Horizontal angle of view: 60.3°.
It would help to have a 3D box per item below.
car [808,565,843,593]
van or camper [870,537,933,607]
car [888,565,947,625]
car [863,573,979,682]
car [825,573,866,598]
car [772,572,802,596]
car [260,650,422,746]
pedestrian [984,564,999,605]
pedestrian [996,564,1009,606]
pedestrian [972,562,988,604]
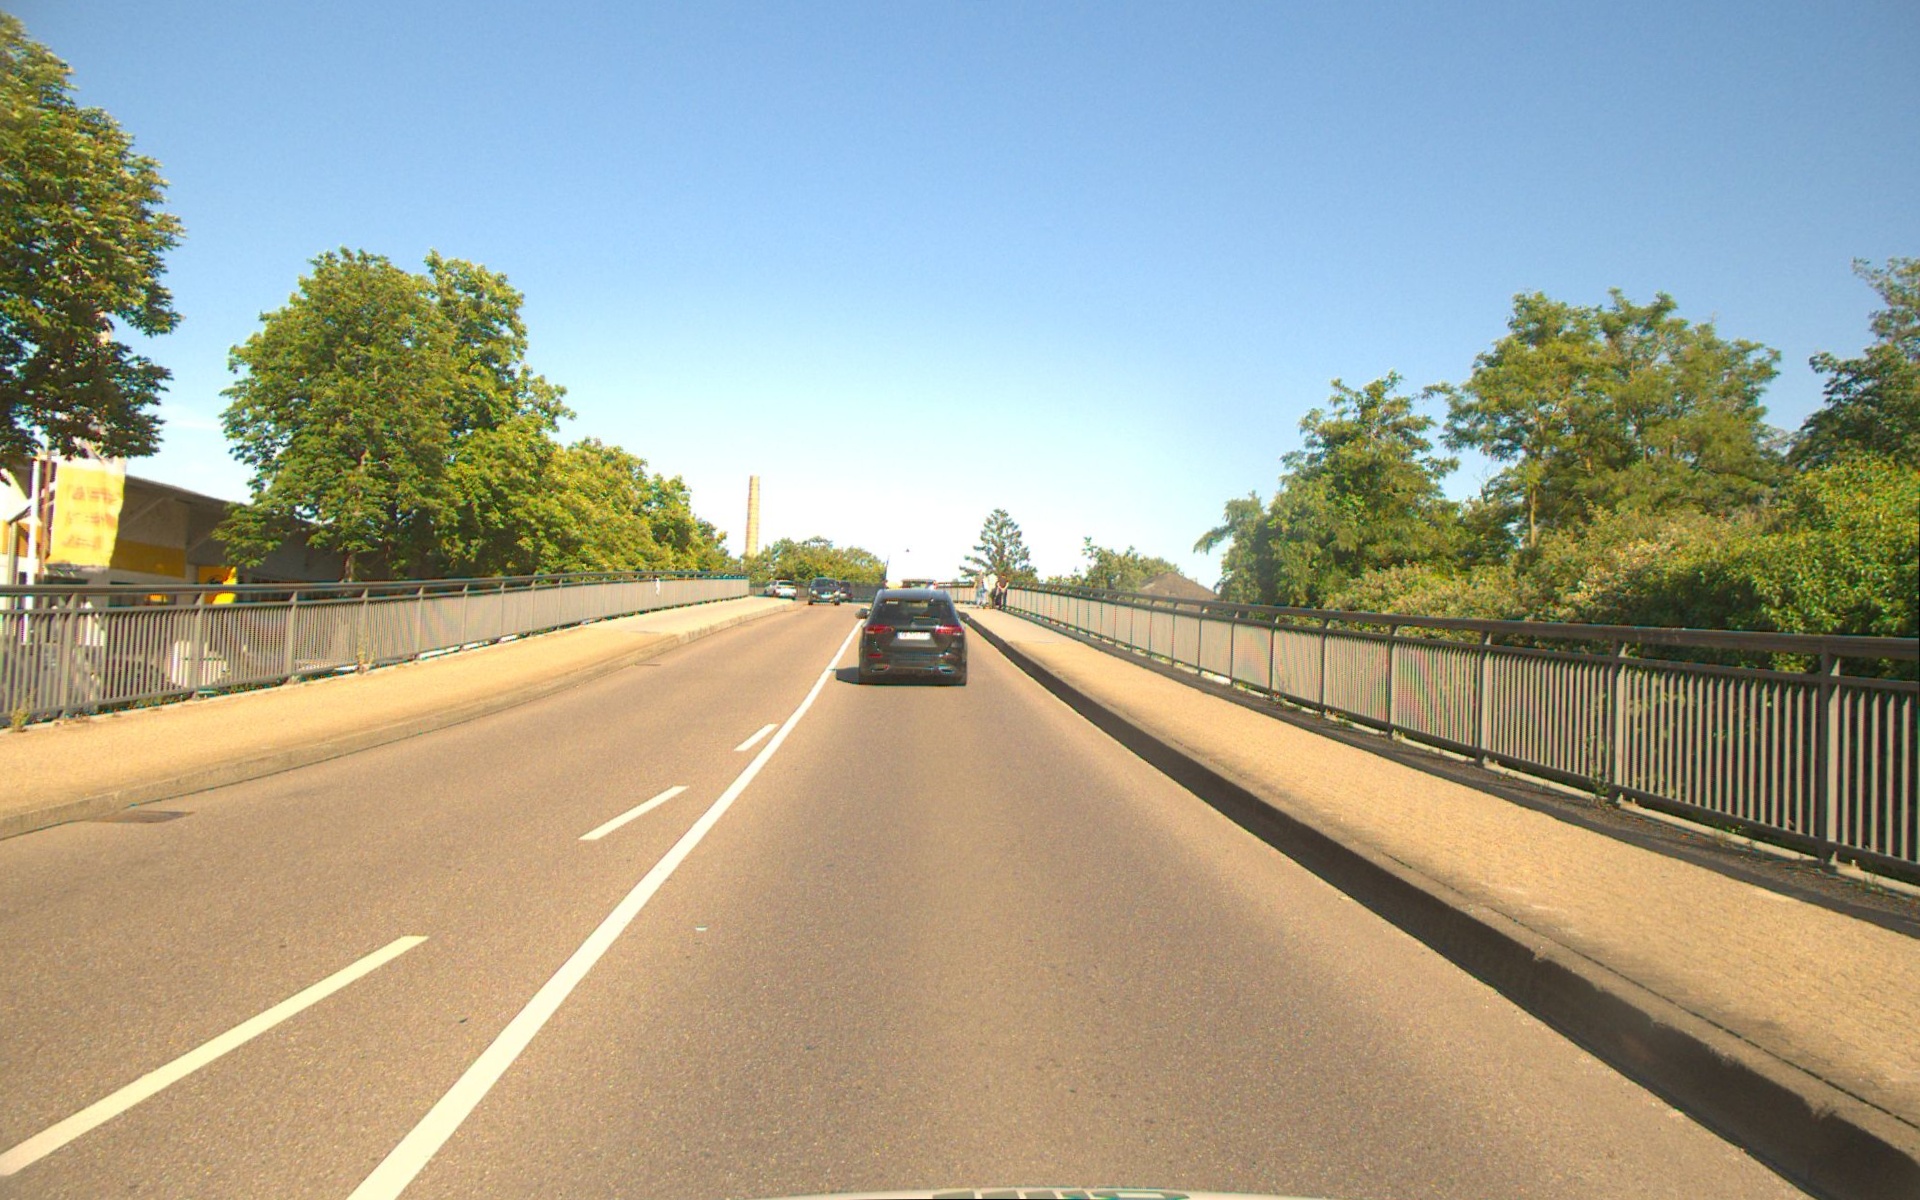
[{"bbox_3d":[-7.252,-1.127,89.341,1.734,1.500,3.987,1,0,-3],"label":"car"},{"bbox_3d":[-2.709,-1.192,74.751,2.183,2.787,7.069,3,-2,-6],"label":"van or camper"},{"bbox_3d":[-1.355,-0.130,53.870,1.768,1.669,3.999,3,-3,0],"label":"car"},{"bbox_3d":[-0.722,0.398,27.869,1.735,1.620,3.986,3,1,-4],"label":"car"},{"bbox_3d":[-7.985,-0.995,115.560,1.877,1.515,4.273,1,-3,9],"label":"car"},{"bbox_3d":[-13.825,-1.270,132.241,1.953,1.710,3.999,1,-3,0],"label":"car"},{"bbox_3d":[-14.288,2.216,38.452,1.883,2.026,4.258,2,-2,3],"label":"car"},{"bbox_3d":[1.396,-0.686,72.777,0.538,1.781,0.738,3,-2,-2],"label":"pedestrian"},{"bbox_3d":[1.841,-0.664,71.803,0.462,1.781,0.653,3,-2,-2],"label":"pedestrian"},{"bbox_3d":[0.886,-0.722,71.968,0.590,1.781,0.716,3,-2,-2],"label":"pedestrian"}]
